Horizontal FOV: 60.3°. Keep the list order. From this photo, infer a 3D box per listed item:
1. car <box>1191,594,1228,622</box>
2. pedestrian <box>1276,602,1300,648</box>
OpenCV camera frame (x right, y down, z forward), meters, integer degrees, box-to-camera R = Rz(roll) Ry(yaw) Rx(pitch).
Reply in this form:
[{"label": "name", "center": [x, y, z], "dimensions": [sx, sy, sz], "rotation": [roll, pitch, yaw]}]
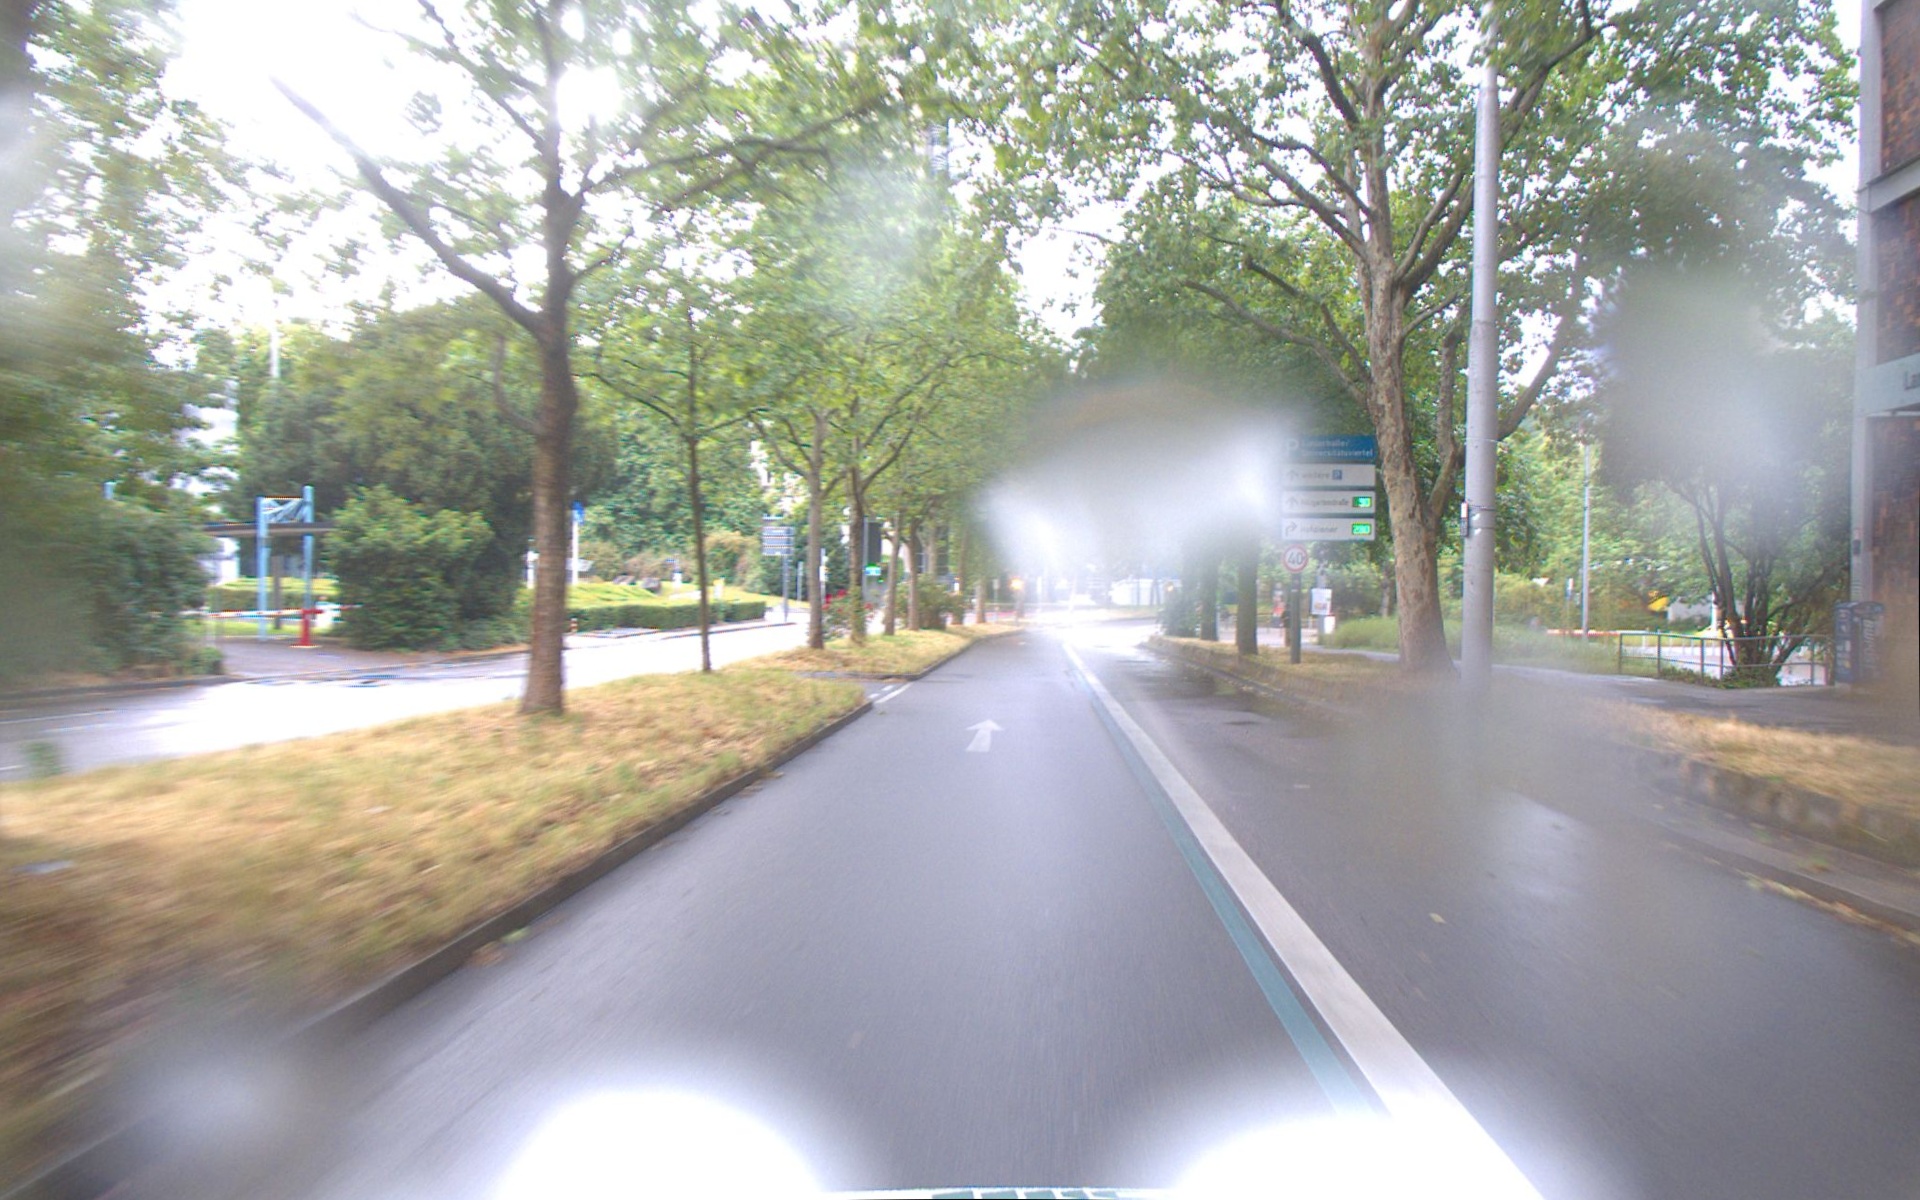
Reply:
[{"label": "car", "center": [19.115, 0.613, 126.589], "dimensions": [1.953, 2.049, 4.000], "rotation": [1, 0, 22]}, {"label": "pedestrian", "center": [12.260, 0.930, 61.875], "dimensions": [0.688, 1.667, 0.935], "rotation": [1, 0, 1]}]
